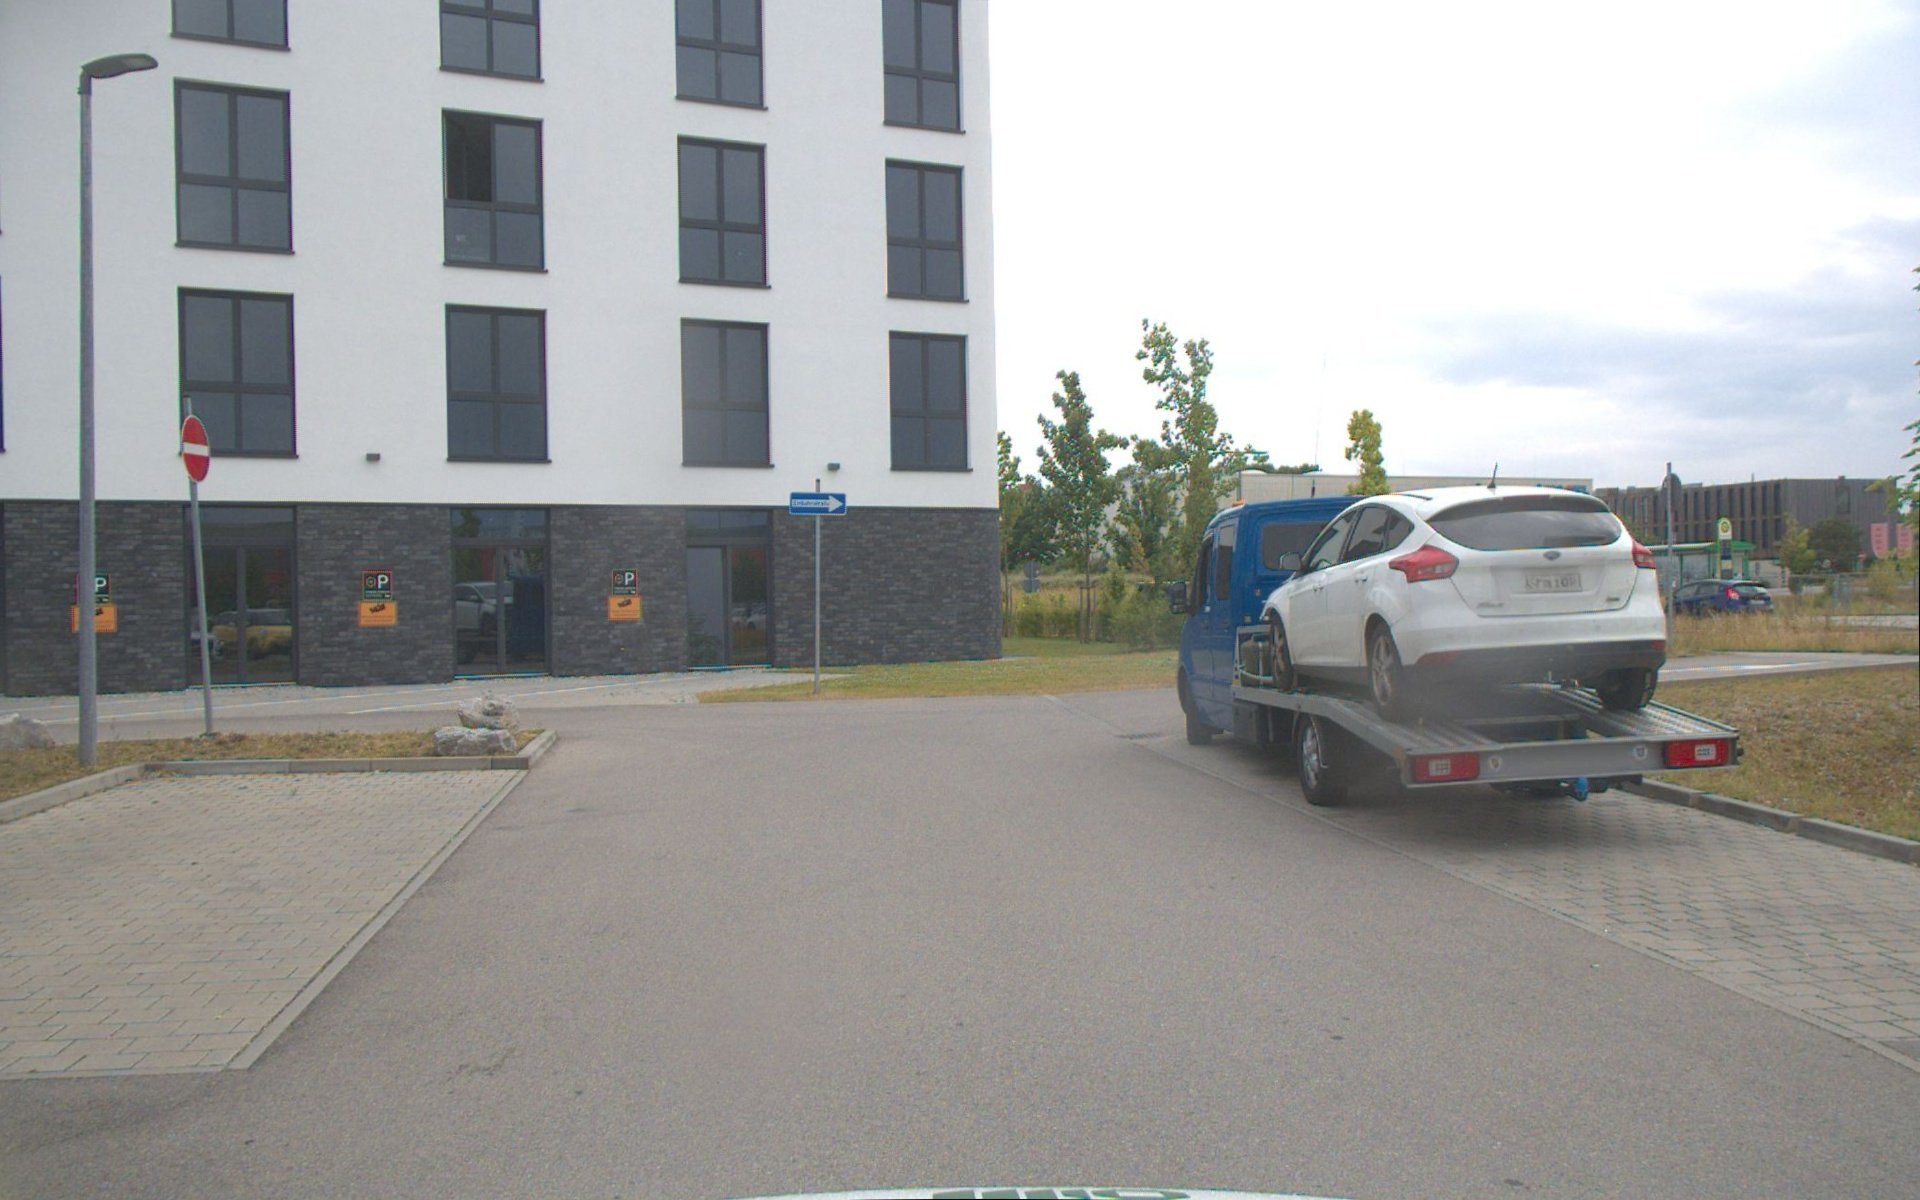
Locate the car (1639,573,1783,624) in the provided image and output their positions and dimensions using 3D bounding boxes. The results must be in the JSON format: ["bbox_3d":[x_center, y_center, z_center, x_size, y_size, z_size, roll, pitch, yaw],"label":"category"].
[{"bbox_3d":[21.477,-0.067,47.470,1.685,1.347,3.986,-1,1,-14],"label":"car"}]

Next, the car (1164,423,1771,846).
[{"bbox_3d":[3.392,0.188,13.369,2.150,2.363,7.853,-1,0,-2],"label":"car"}]
